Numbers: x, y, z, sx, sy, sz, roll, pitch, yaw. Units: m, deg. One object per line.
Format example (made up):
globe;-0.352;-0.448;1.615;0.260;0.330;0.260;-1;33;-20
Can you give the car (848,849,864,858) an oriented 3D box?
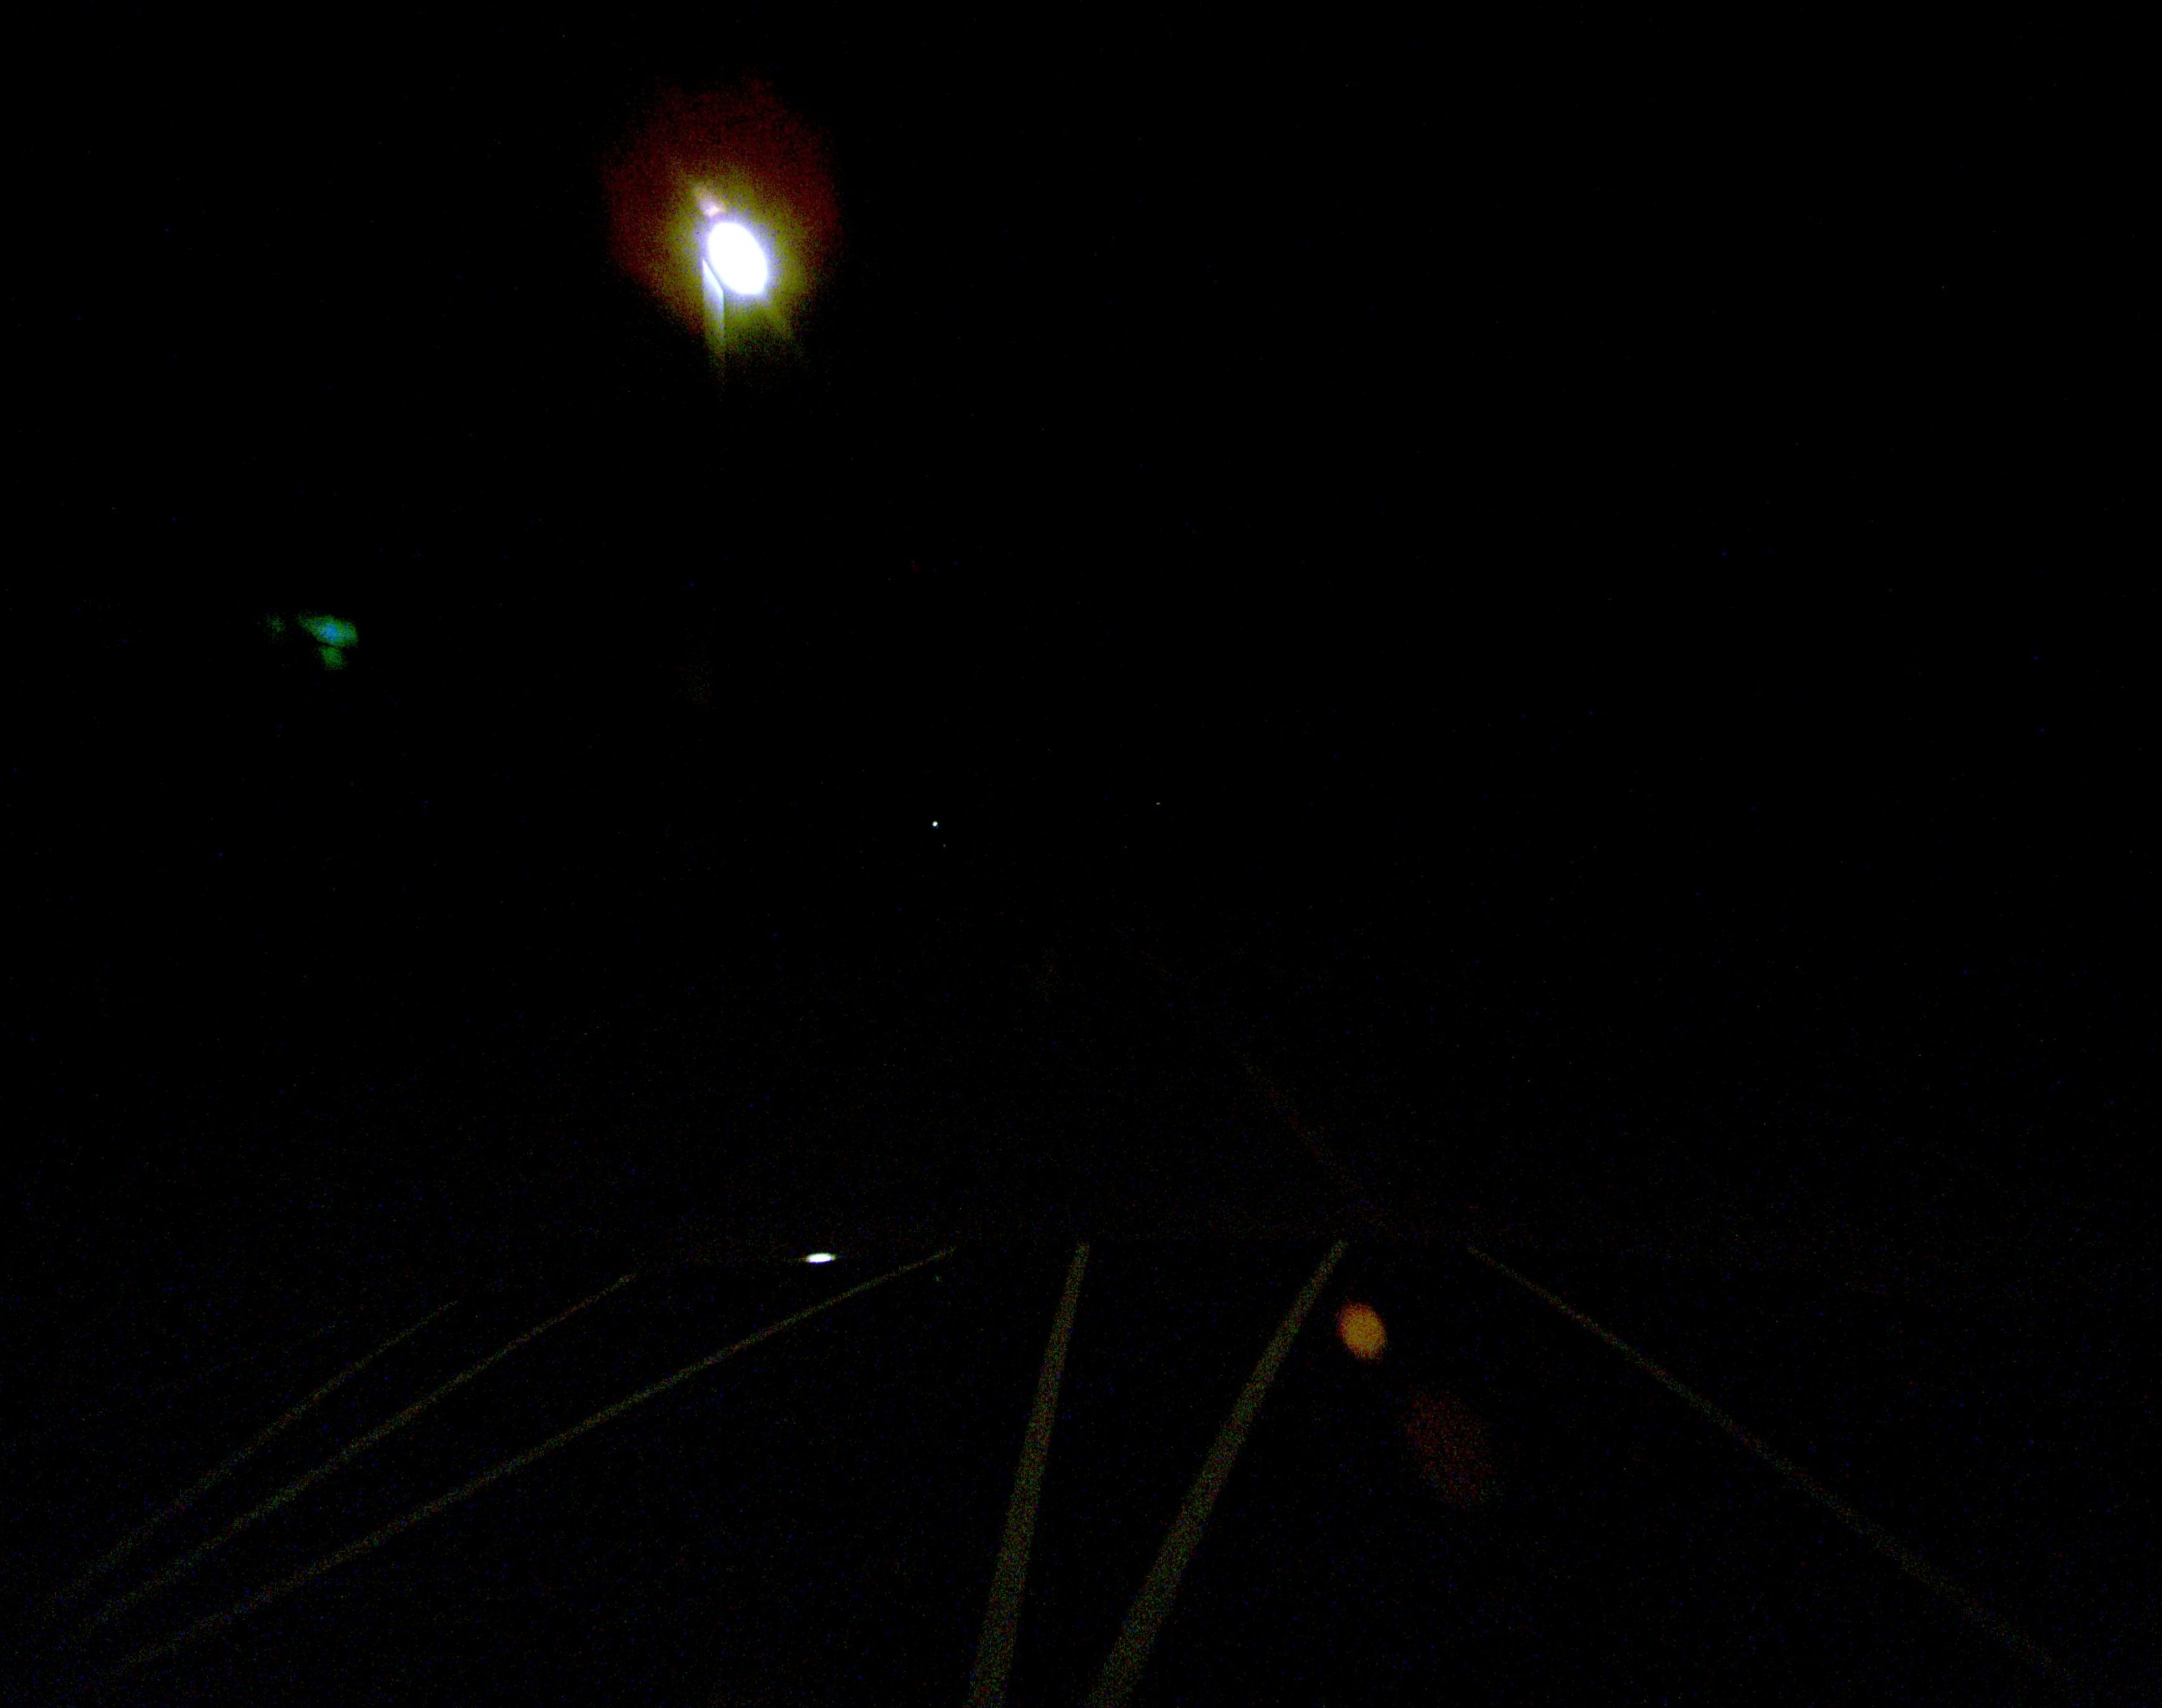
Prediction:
car;-42.024;-0.093;141.836;1.773;1.558;4.681;3;-1;-30

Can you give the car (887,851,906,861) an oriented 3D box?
car;-29.016;0.277;119.575;1.737;1.357;4.135;2;1;-30

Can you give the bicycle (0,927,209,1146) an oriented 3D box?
bicycle;-5.676;1.004;3.894;0.296;0.977;1.943;-1;3;-6

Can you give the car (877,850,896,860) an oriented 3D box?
car;-31.987;0.174;125.048;1.910;1.357;4.971;2;1;-27

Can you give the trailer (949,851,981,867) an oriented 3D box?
trailer;-14.285;0.554;93.038;2.034;1.770;5.659;1;1;-28

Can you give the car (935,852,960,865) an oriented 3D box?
car;-17.096;0.575;97.389;1.725;1.568;4.523;2;0;-28
